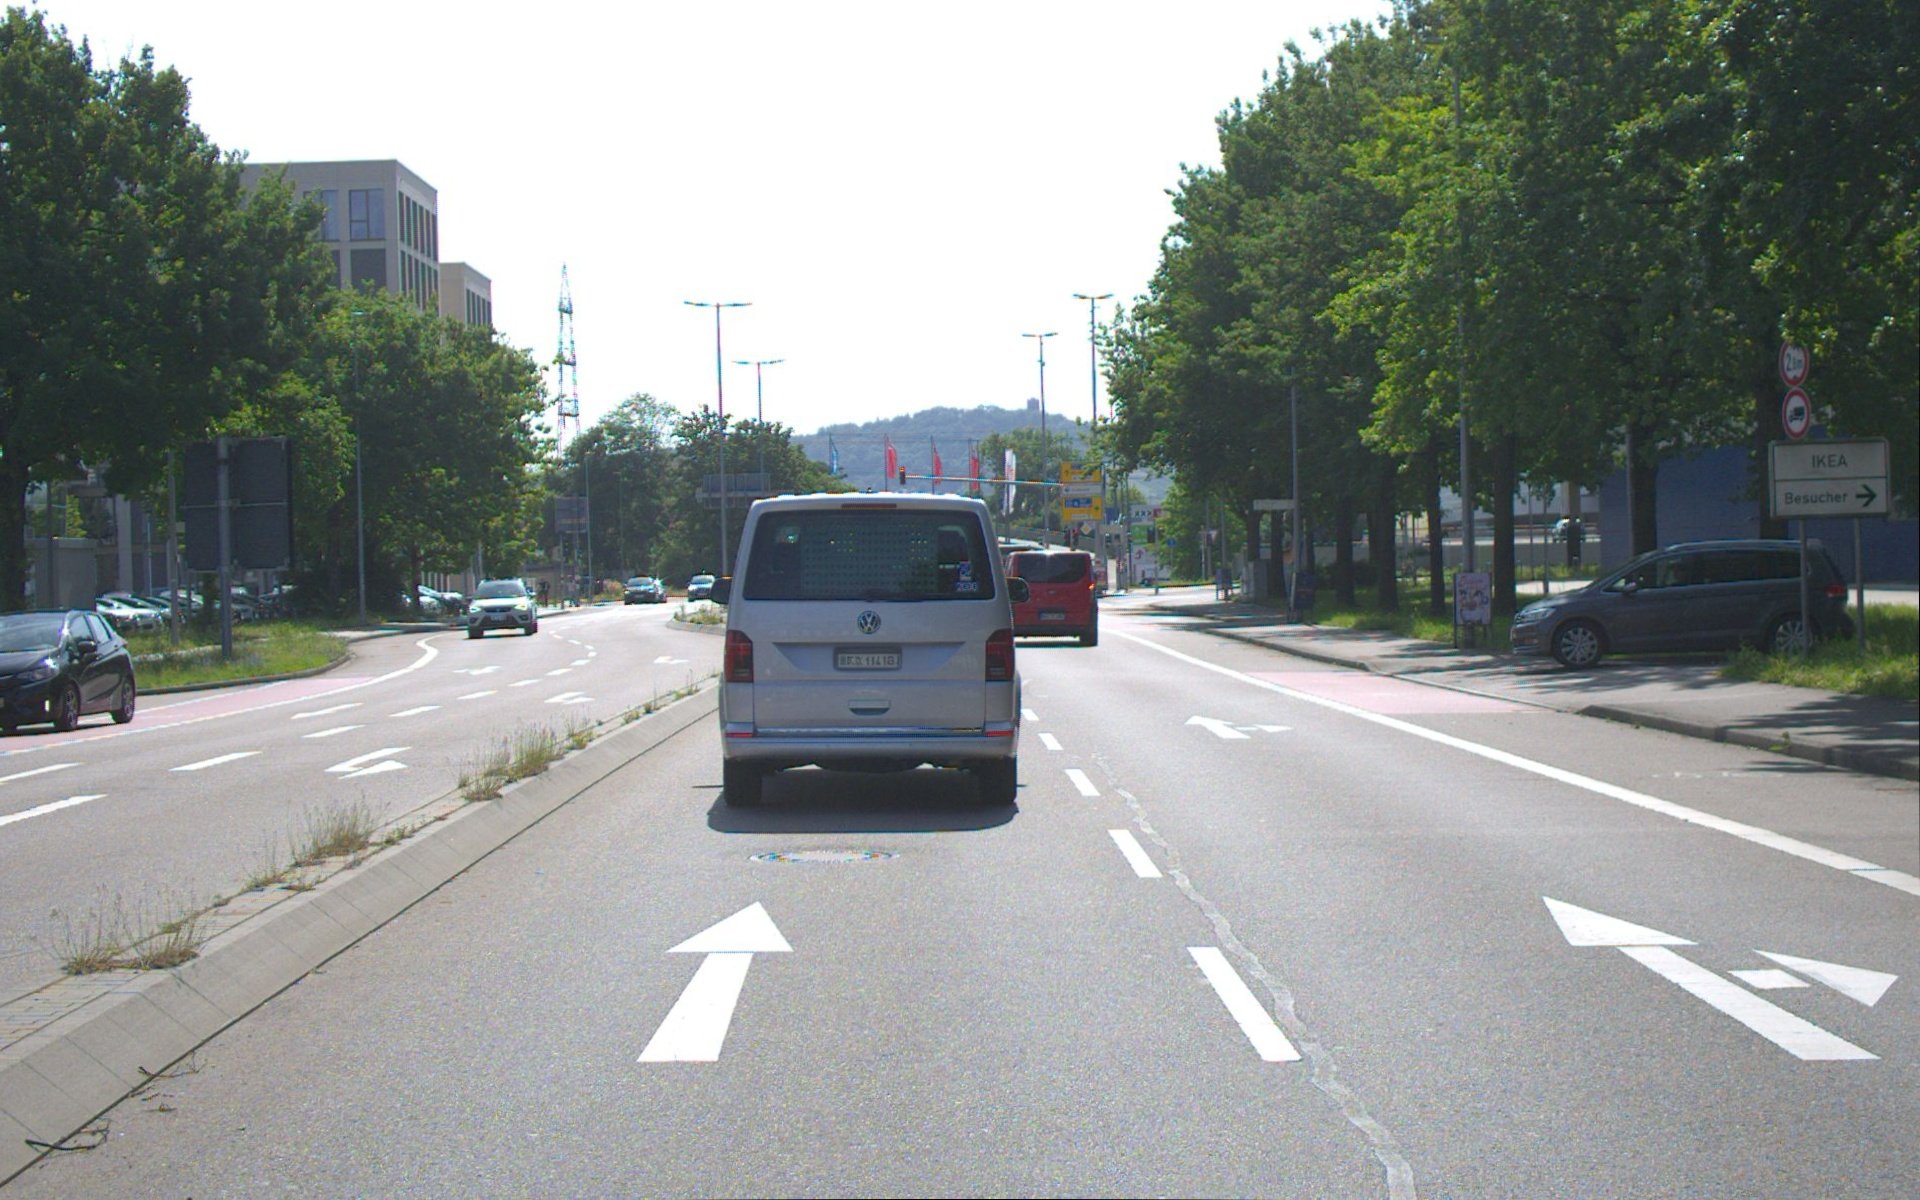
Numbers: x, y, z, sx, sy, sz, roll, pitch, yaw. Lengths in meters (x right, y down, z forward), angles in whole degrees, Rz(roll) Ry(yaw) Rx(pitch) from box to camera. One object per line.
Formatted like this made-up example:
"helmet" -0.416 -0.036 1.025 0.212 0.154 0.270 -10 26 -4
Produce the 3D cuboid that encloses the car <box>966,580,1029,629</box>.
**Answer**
"car" 1.114 0.129 104.113 1.746 1.453 4.476 0 0 -1

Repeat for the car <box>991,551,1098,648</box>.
"car" 1.748 -0.022 72.377 1.967 1.961 5.126 0 0 -2

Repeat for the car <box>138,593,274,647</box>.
"car" -24.980 0.645 114.013 3.987 1.437 2.000 -5 0 0

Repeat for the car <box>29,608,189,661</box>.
"car" -24.979 1.004 101.020 4.173 1.186 1.955 -5 1 -3

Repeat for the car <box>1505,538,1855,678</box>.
"car" 9.742 0.110 46.828 4.445 1.688 1.844 -2 0 6

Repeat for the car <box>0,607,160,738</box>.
"car" -11.512 0.898 43.838 1.697 1.514 4.027 -3 0 -1

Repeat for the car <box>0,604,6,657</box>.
"car" -25.355 0.789 82.302 4.499 1.285 1.920 -1 0 -3

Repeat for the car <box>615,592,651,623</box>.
"car" -18.680 0.414 196.545 1.738 1.613 4.210 -4 0 -3

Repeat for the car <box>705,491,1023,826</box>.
"car" -0.605 0.337 22.437 1.884 1.984 4.000 0 0 -1

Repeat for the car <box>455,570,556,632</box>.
"car" -12.618 0.012 95.621 1.994 1.612 4.103 -3 0 3
